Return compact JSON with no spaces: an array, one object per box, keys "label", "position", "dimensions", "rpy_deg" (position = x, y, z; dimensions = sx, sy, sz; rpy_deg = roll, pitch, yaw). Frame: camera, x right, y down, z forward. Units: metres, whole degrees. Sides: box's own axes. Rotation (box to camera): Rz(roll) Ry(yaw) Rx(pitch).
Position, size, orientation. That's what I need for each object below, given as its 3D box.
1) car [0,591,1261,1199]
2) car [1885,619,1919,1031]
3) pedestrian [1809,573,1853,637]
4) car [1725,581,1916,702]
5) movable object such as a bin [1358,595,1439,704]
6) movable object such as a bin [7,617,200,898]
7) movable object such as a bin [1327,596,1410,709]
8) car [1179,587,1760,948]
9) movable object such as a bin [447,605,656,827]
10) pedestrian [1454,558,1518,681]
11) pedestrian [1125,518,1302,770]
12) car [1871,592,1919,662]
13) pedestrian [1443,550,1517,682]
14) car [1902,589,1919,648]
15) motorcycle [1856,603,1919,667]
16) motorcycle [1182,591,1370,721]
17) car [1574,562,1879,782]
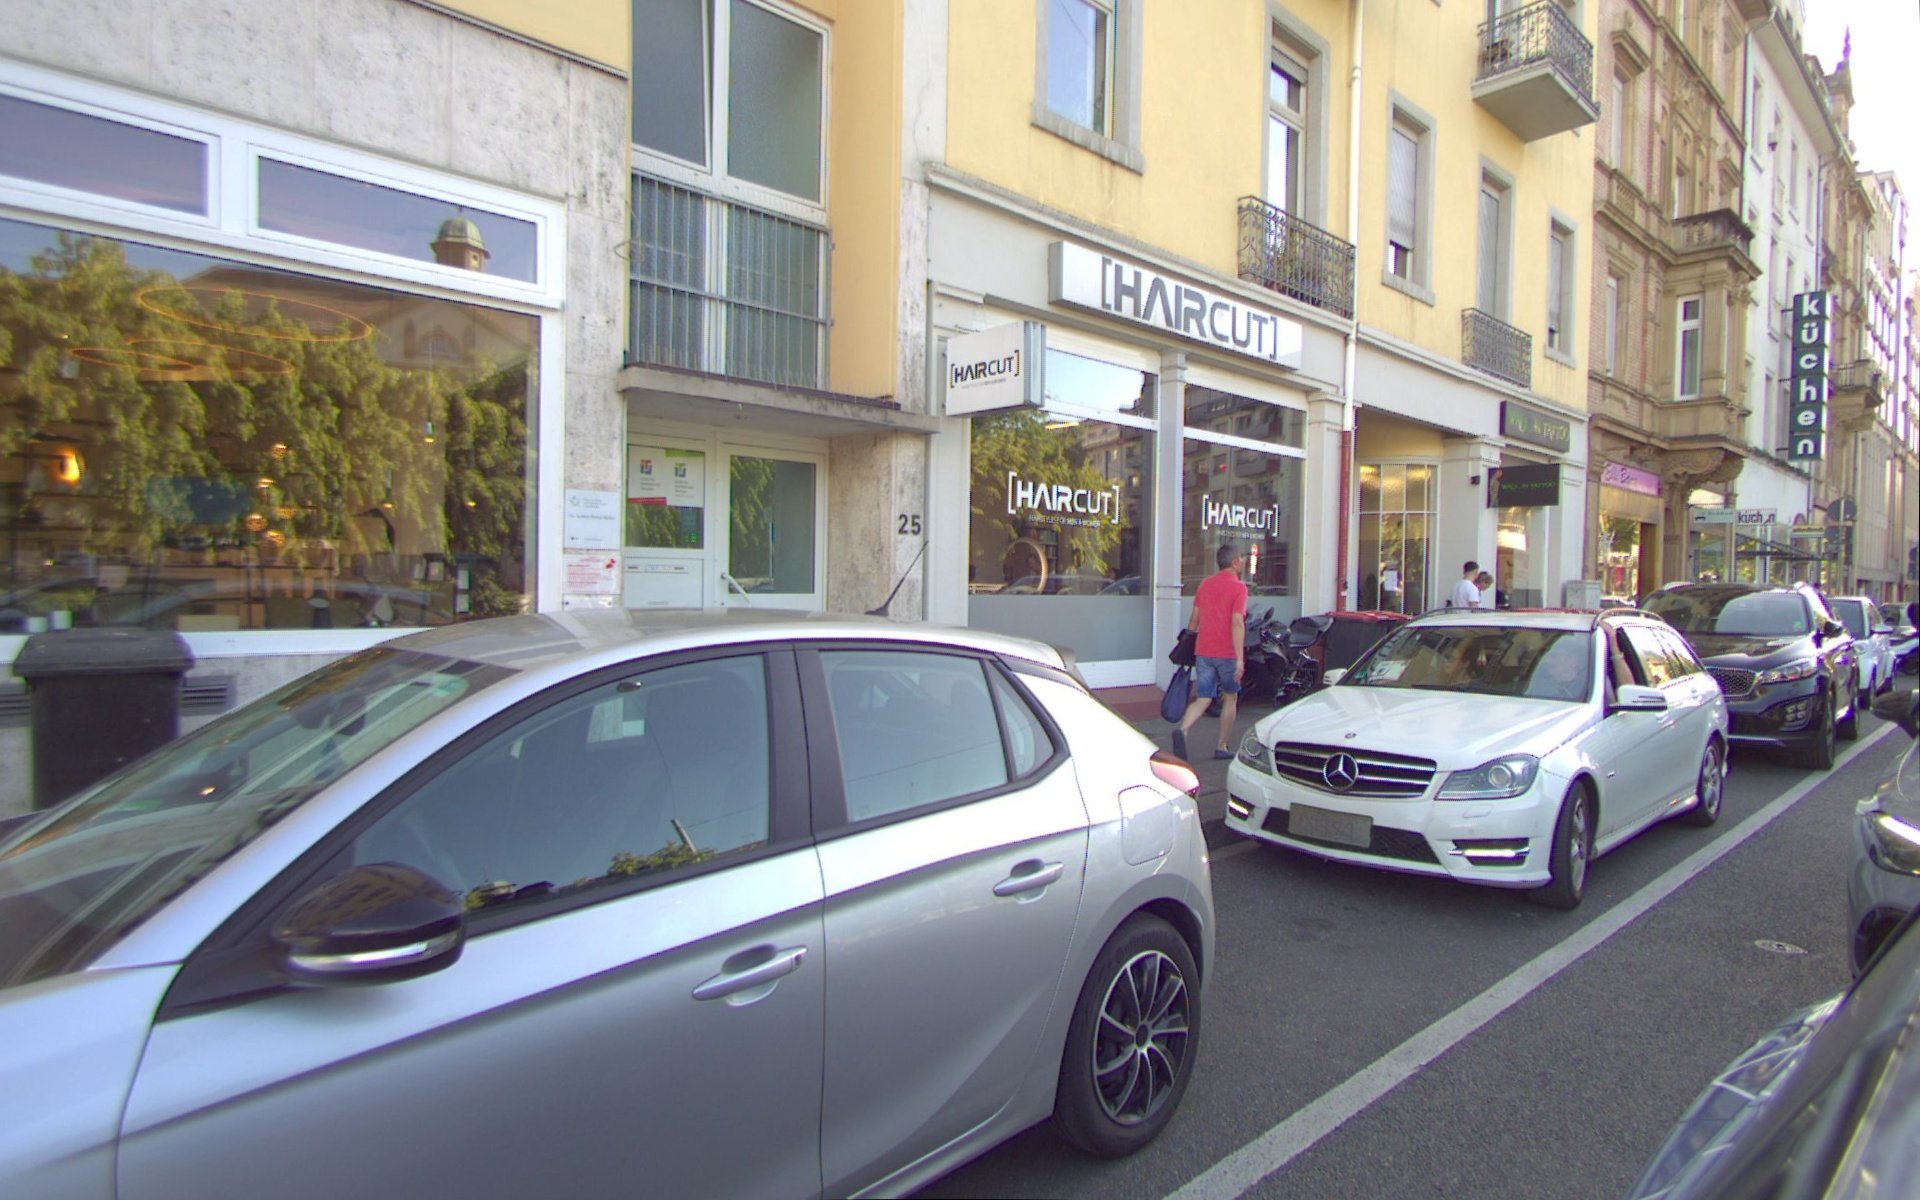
[{"label":"car","position":[-1.027,0.698,2.324],"dimensions":[3.642,1.415,1.652],"rpy_deg":[0,1,-42]},{"label":"car","position":[5.402,0.785,4.268],"dimensions":[4.183,1.396,1.846],"rpy_deg":[0,1,-42]},{"label":"pedestrian","position":[23.064,0.120,26.784],"dimensions":[0.750,1.637,0.794],"rpy_deg":[0,1,-43]},{"label":"car","position":[12.731,0.533,14.936],"dimensions":[2.965,1.587,1.695],"rpy_deg":[0,1,-40]},{"label":"movable object such as a bin","position":[5.151,0.562,11.894],"dimensions":[0.633,1.222,0.647],"rpy_deg":[0,0,-40]},{"label":"movable object such as a bin","position":[-3.696,0.614,4.392],"dimensions":[0.591,1.041,0.812],"rpy_deg":[0,1,-40]},{"label":"movable object such as a bin","position":[4.641,0.569,11.505],"dimensions":[0.633,1.222,0.647],"rpy_deg":[0,0,-40]},{"label":"car","position":[3.452,0.675,6.372],"dimensions":[4.519,1.480,1.757],"rpy_deg":[0,1,-42]},{"label":"movable object such as a bin","position":[-2.253,0.578,5.578],"dimensions":[0.878,1.066,0.752],"rpy_deg":[0,1,-40]},{"label":"pedestrian","position":[7.220,0.250,13.888],"dimensions":[0.631,1.637,0.572],"rpy_deg":[0,0,-40]},{"label":"pedestrian","position":[1.982,0.289,7.936],"dimensions":[0.991,1.805,0.866],"rpy_deg":[-1,4,-42]},{"label":"car","position":[22.203,0.572,23.082],"dimensions":[3.931,1.504,1.713],"rpy_deg":[0,1,-42]},{"label":"pedestrian","position":[6.676,0.188,12.992],"dimensions":[0.689,1.637,0.641],"rpy_deg":[0,0,-42]},{"label":"car","position":[26.405,0.479,26.866],"dimensions":[3.931,1.504,1.713],"rpy_deg":[0,1,-42]},{"label":"motorcycle","position":[19.293,0.706,20.523],"dimensions":[1.514,1.248,0.771],"rpy_deg":[1,0,1]},{"label":"motorcycle","position":[3.326,0.520,10.532],"dimensions":[2.208,1.179,0.773],"rpy_deg":[0,4,-41]},{"label":"car","position":[7.873,0.535,10.202],"dimensions":[1.853,1.719,4.623],"rpy_deg":[1,1,45]}]
